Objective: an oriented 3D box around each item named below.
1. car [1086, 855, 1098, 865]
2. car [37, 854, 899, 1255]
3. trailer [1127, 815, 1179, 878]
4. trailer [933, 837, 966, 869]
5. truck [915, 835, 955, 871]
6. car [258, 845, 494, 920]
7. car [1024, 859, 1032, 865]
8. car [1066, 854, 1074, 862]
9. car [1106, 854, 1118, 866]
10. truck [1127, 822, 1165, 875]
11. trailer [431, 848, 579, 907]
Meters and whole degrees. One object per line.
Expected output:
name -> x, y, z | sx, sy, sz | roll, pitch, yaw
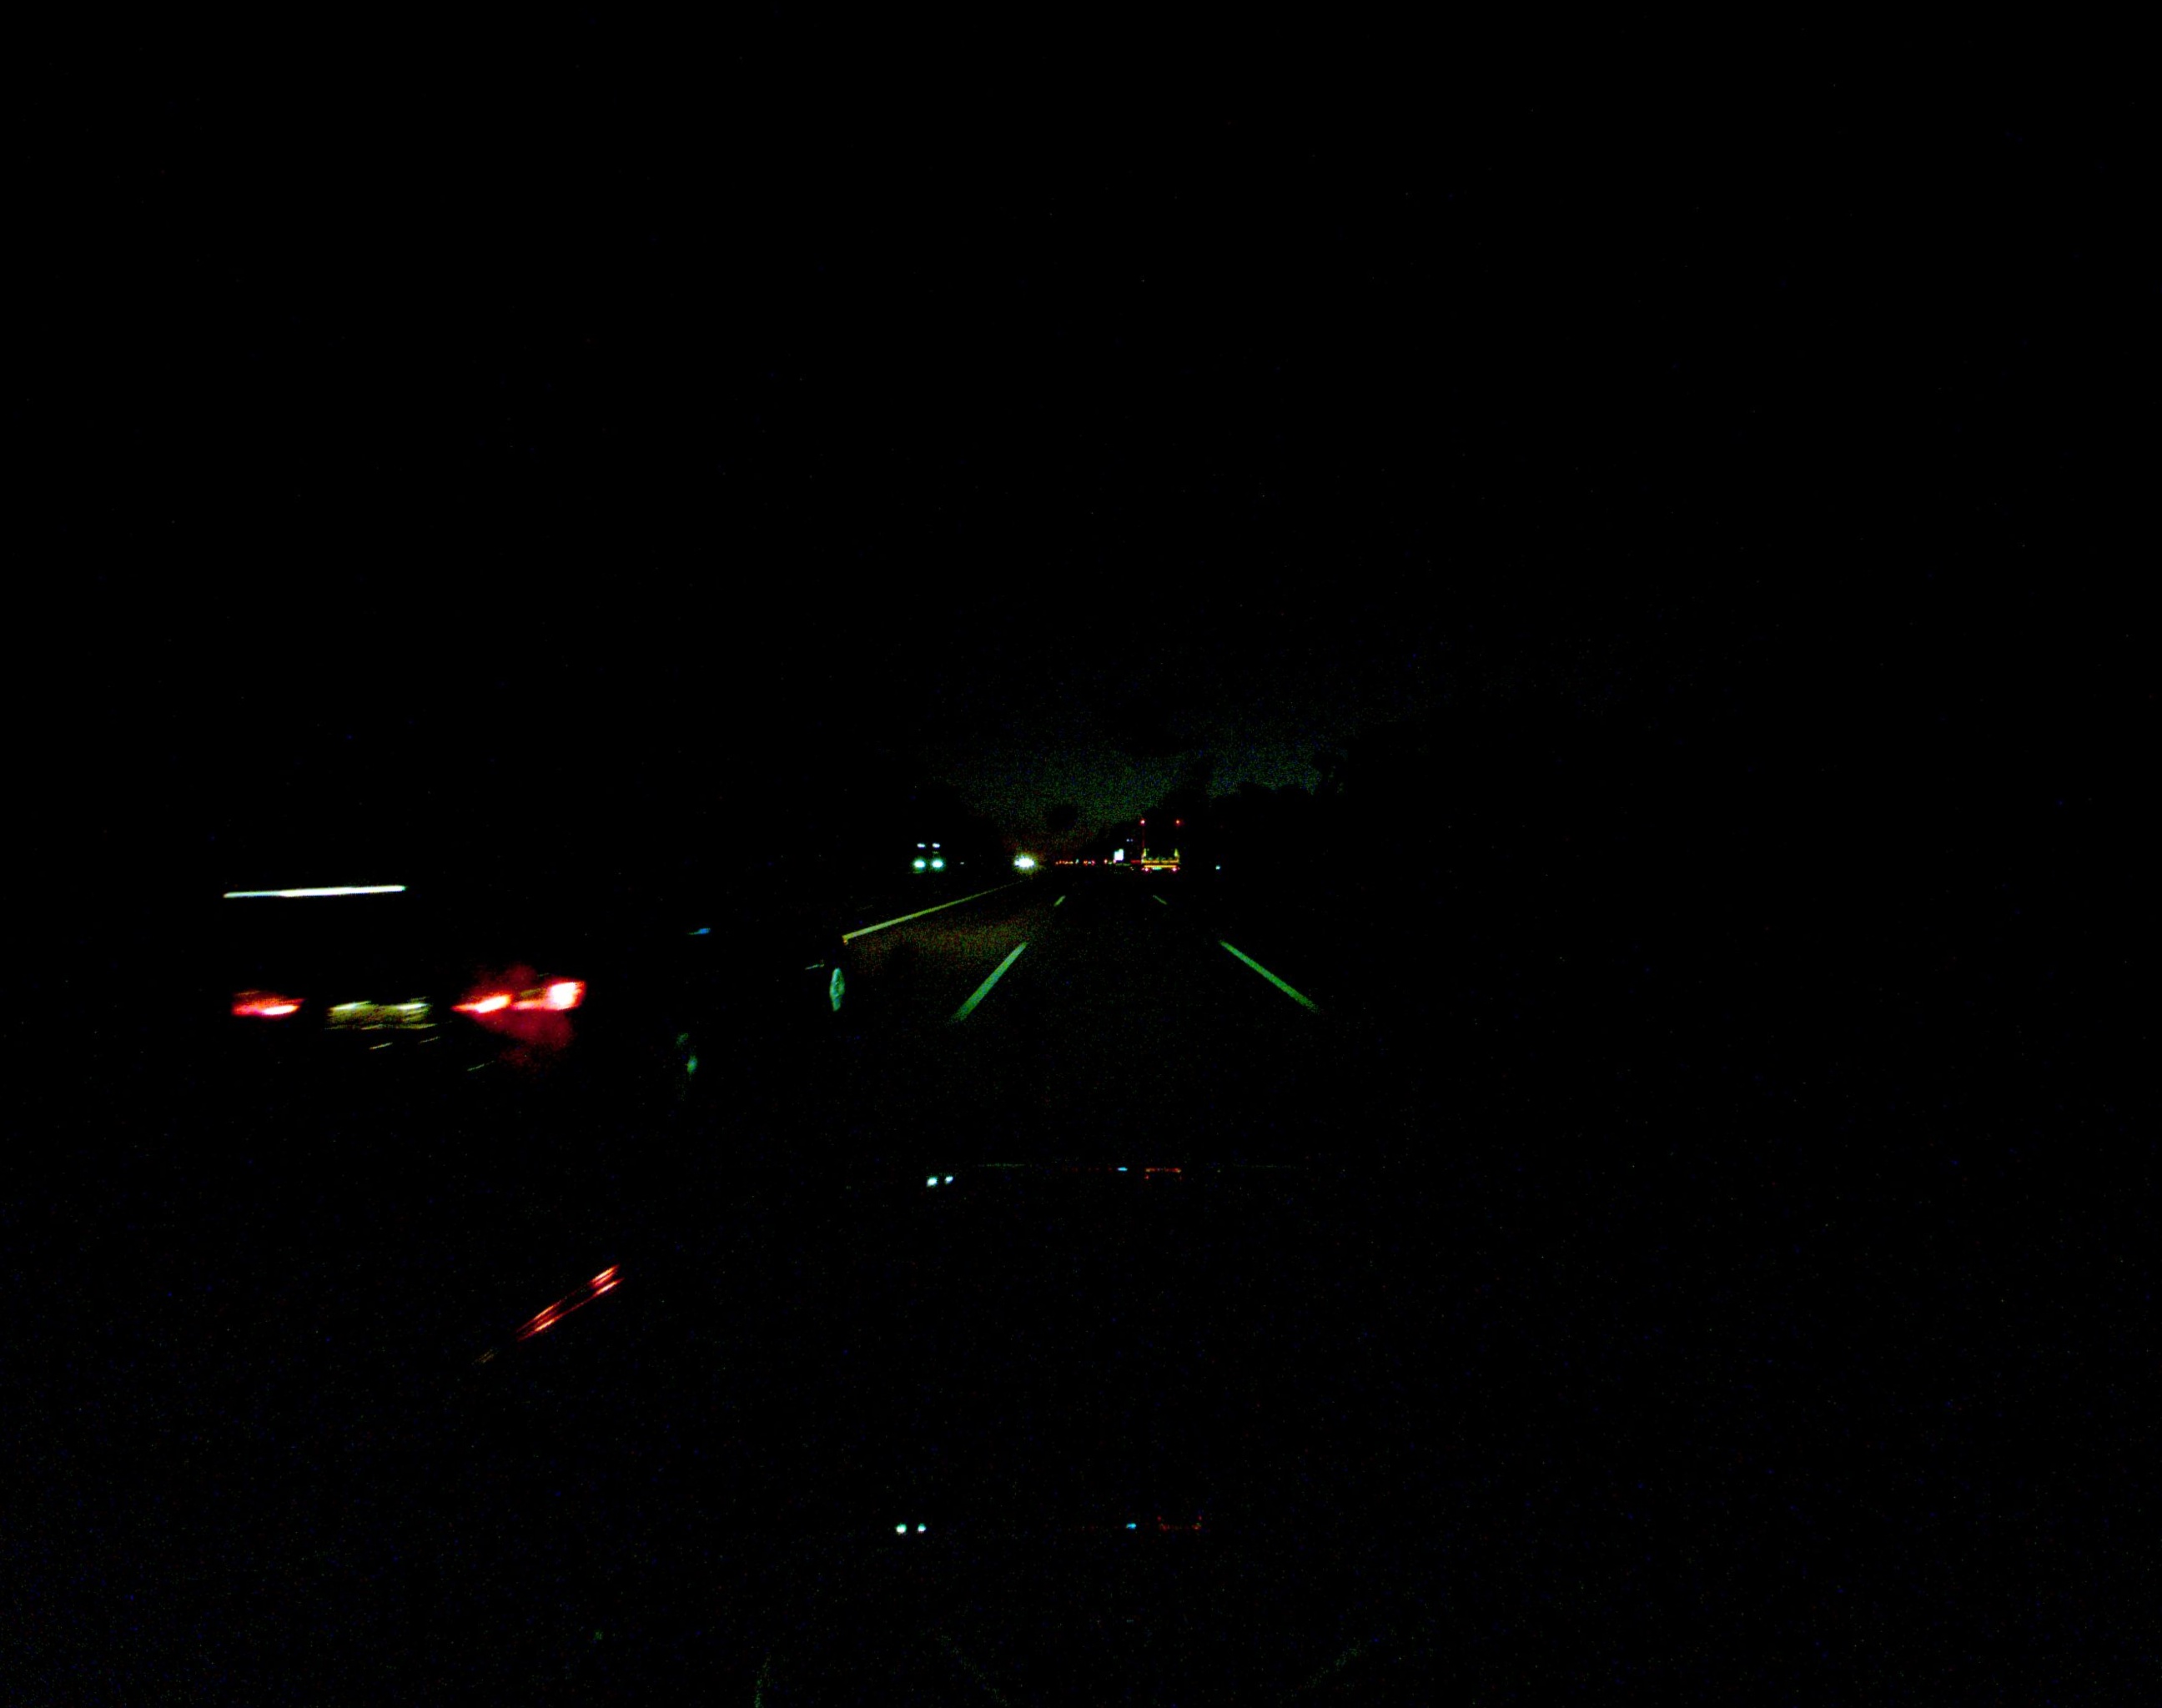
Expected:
car -> 1.967, 1.064, 141.683 | 1.987, 1.794, 3.998 | 0, -2, -1
car -> -3.165, 0.816, 6.163 | 1.985, 1.518, 5.656 | 0, 1, 3
trailer -> 5.382, -0.472, 63.845 | 2.819, 4.256, 17.050 | 0, 0, 1
trailer -> -17.328, -0.070, 107.777 | 2.850, 4.071, 8.870 | 0, 0, 0
truck -> -17.411, -0.126, 98.023 | 2.850, 4.071, 10.634 | 0, 0, 0
car -> -18.315, 0.680, 21.559 | 1.906, 1.746, 4.883 | 0, 0, 1
car -> -16.383, 2.448, 251.681 | 1.987, 1.662, 4.000 | 0, 0, 0
car -> -2.584, 1.062, 191.783 | 1.987, 1.794, 3.999 | 0, -2, 0
car -> 5.610, 1.049, 146.118 | 1.987, 2.117, 3.999 | 0, -2, 0
truck -> 5.464, -0.435, 69.199 | 2.819, 4.256, 6.263 | 0, -1, 1
trailer -> -18.181, 0.705, 25.950 | 1.889, 1.746, 3.846 | 0, 0, 1
